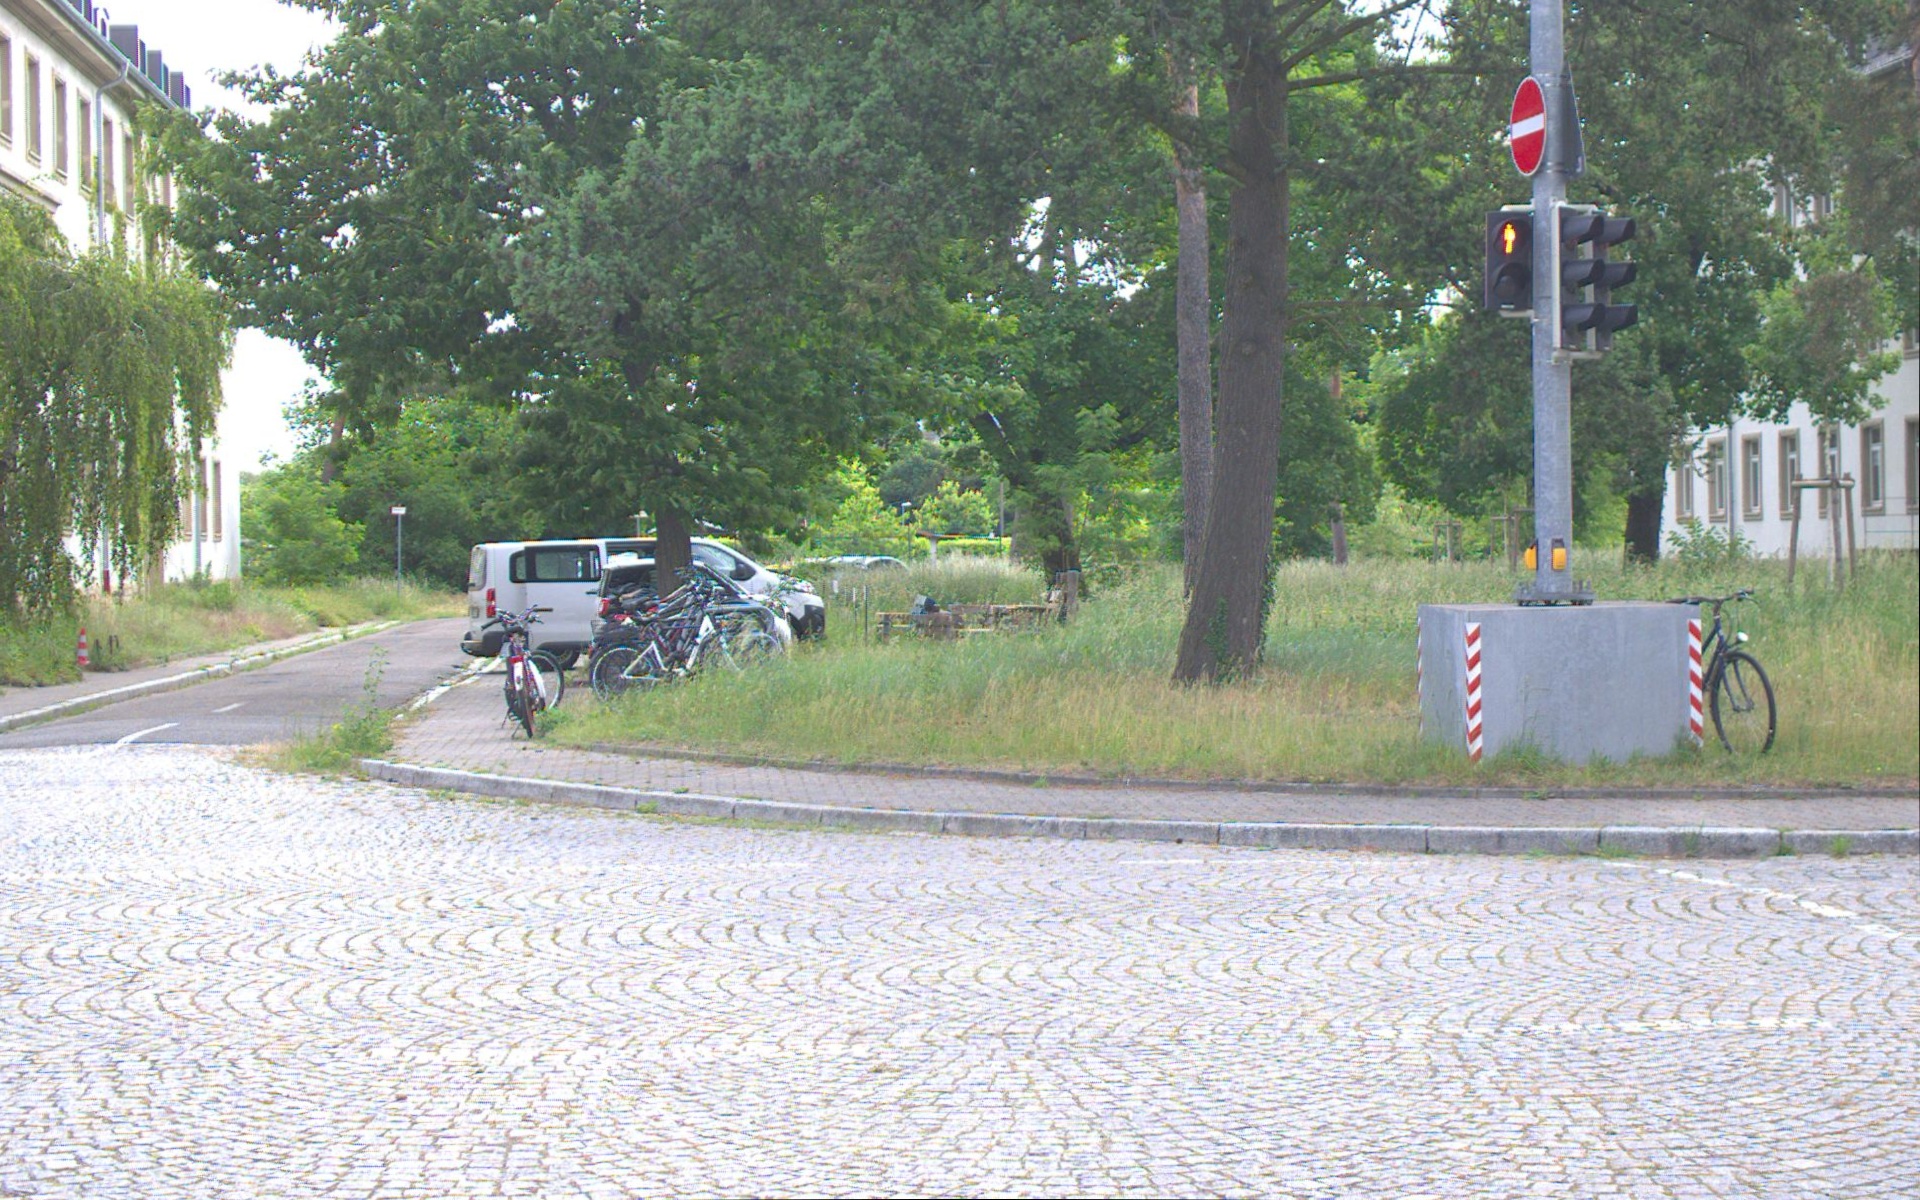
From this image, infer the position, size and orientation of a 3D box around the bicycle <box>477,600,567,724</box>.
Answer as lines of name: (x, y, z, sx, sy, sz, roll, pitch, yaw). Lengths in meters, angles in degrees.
bicycle: (-3.963, 0.549, 31.196, 0.622, 1.079, 1.678, 0, 0, -1)

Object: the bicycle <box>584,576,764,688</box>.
bicycle: (-3.199, 0.352, 38.358, 1.982, 1.243, 0.624, 0, 0, -6)

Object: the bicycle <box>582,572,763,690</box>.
bicycle: (-3.264, 0.347, 39.014, 1.982, 1.243, 0.624, -2, 1, -6)

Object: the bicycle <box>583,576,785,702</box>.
bicycle: (-2.761, 0.384, 34.275, 1.982, 1.243, 0.624, 0, 0, -6)

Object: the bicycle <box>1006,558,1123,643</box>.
bicycle: (1.418, 0.005, 46.647, 1.549, 1.121, 0.401, -1, 1, -3)

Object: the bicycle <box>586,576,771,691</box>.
bicycle: (-3.061, 0.360, 37.358, 1.982, 1.243, 0.624, 0, 0, -6)

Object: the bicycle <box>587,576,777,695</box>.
bicycle: (-2.938, 0.368, 36.286, 1.982, 1.243, 0.624, 0, 0, -6)

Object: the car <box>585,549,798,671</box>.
car: (-3.699, 0.121, 47.312, 2.847, 1.552, 1.472, -2, 2, -5)

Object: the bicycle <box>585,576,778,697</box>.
bicycle: (-2.902, 0.372, 35.762, 1.982, 1.243, 0.624, 0, 0, -6)

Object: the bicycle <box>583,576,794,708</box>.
bicycle: (-2.594, 0.396, 32.728, 1.982, 1.243, 0.624, 0, 0, -6)

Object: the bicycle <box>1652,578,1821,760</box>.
bicycle: (4.686, 0.398, 20.837, 0.580, 0.967, 1.678, -3, 3, -1)

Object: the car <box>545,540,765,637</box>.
car: (-5.741, -0.221, 64.571, 4.031, 1.712, 1.681, -1, 0, -6)

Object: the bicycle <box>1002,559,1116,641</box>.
bicycle: (1.375, -0.007, 47.879, 1.549, 1.121, 0.401, -1, 1, -3)

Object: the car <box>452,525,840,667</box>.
car: (-4.642, -0.086, 50.724, 5.303, 1.909, 2.150, -2, 1, -19)

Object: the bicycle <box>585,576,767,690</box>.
bicycle: (-3.134, 0.356, 37.867, 1.982, 1.243, 0.624, 0, 0, -6)

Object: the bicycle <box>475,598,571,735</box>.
bicycle: (-3.705, 0.549, 29.255, 0.622, 1.110, 1.989, 0, 0, -2)

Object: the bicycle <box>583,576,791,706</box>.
bicycle: (-2.656, 0.391, 33.354, 1.982, 1.243, 0.624, 0, 0, -6)

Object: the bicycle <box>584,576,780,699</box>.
bicycle: (-2.846, 0.377, 35.131, 1.982, 1.243, 0.624, 0, 0, -6)
